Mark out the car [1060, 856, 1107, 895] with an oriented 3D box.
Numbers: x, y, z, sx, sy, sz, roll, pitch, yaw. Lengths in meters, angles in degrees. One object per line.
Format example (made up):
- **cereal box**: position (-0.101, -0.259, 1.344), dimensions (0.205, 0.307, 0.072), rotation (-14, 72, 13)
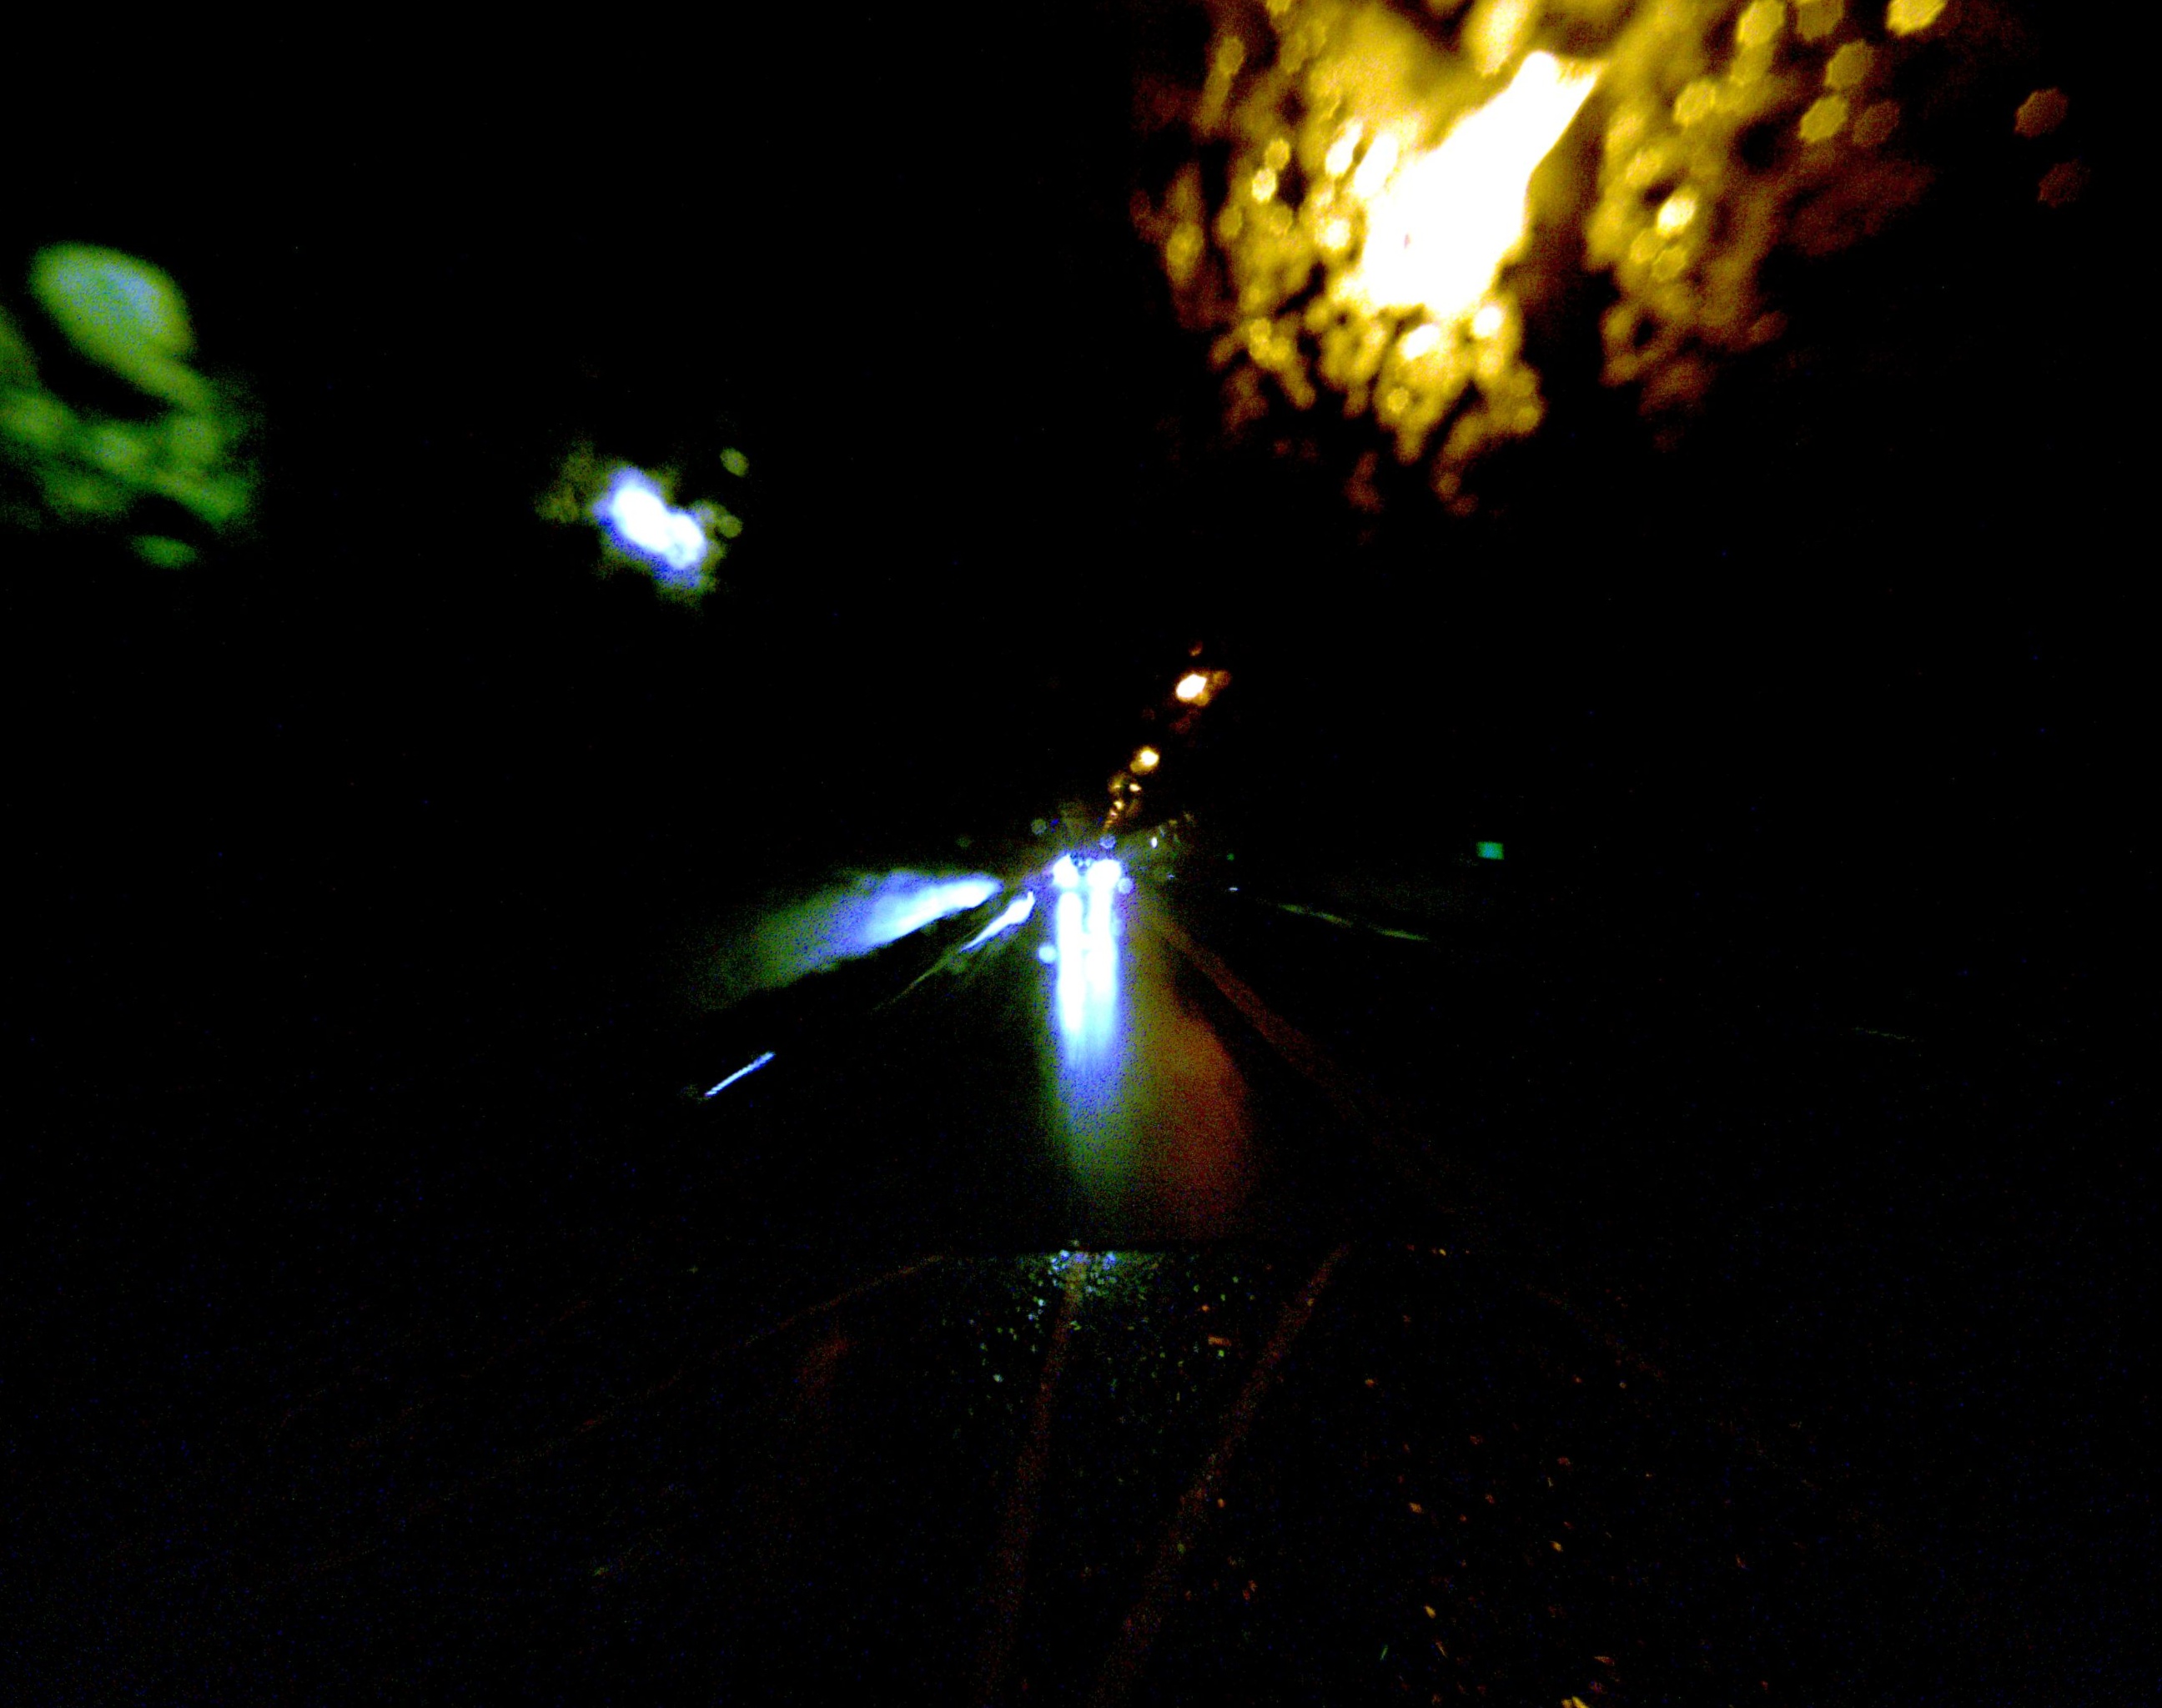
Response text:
- **car**: position (0.123, 0.971, 35.920), dimensions (1.998, 1.547, 3.999), rotation (-3, 2, 0)
